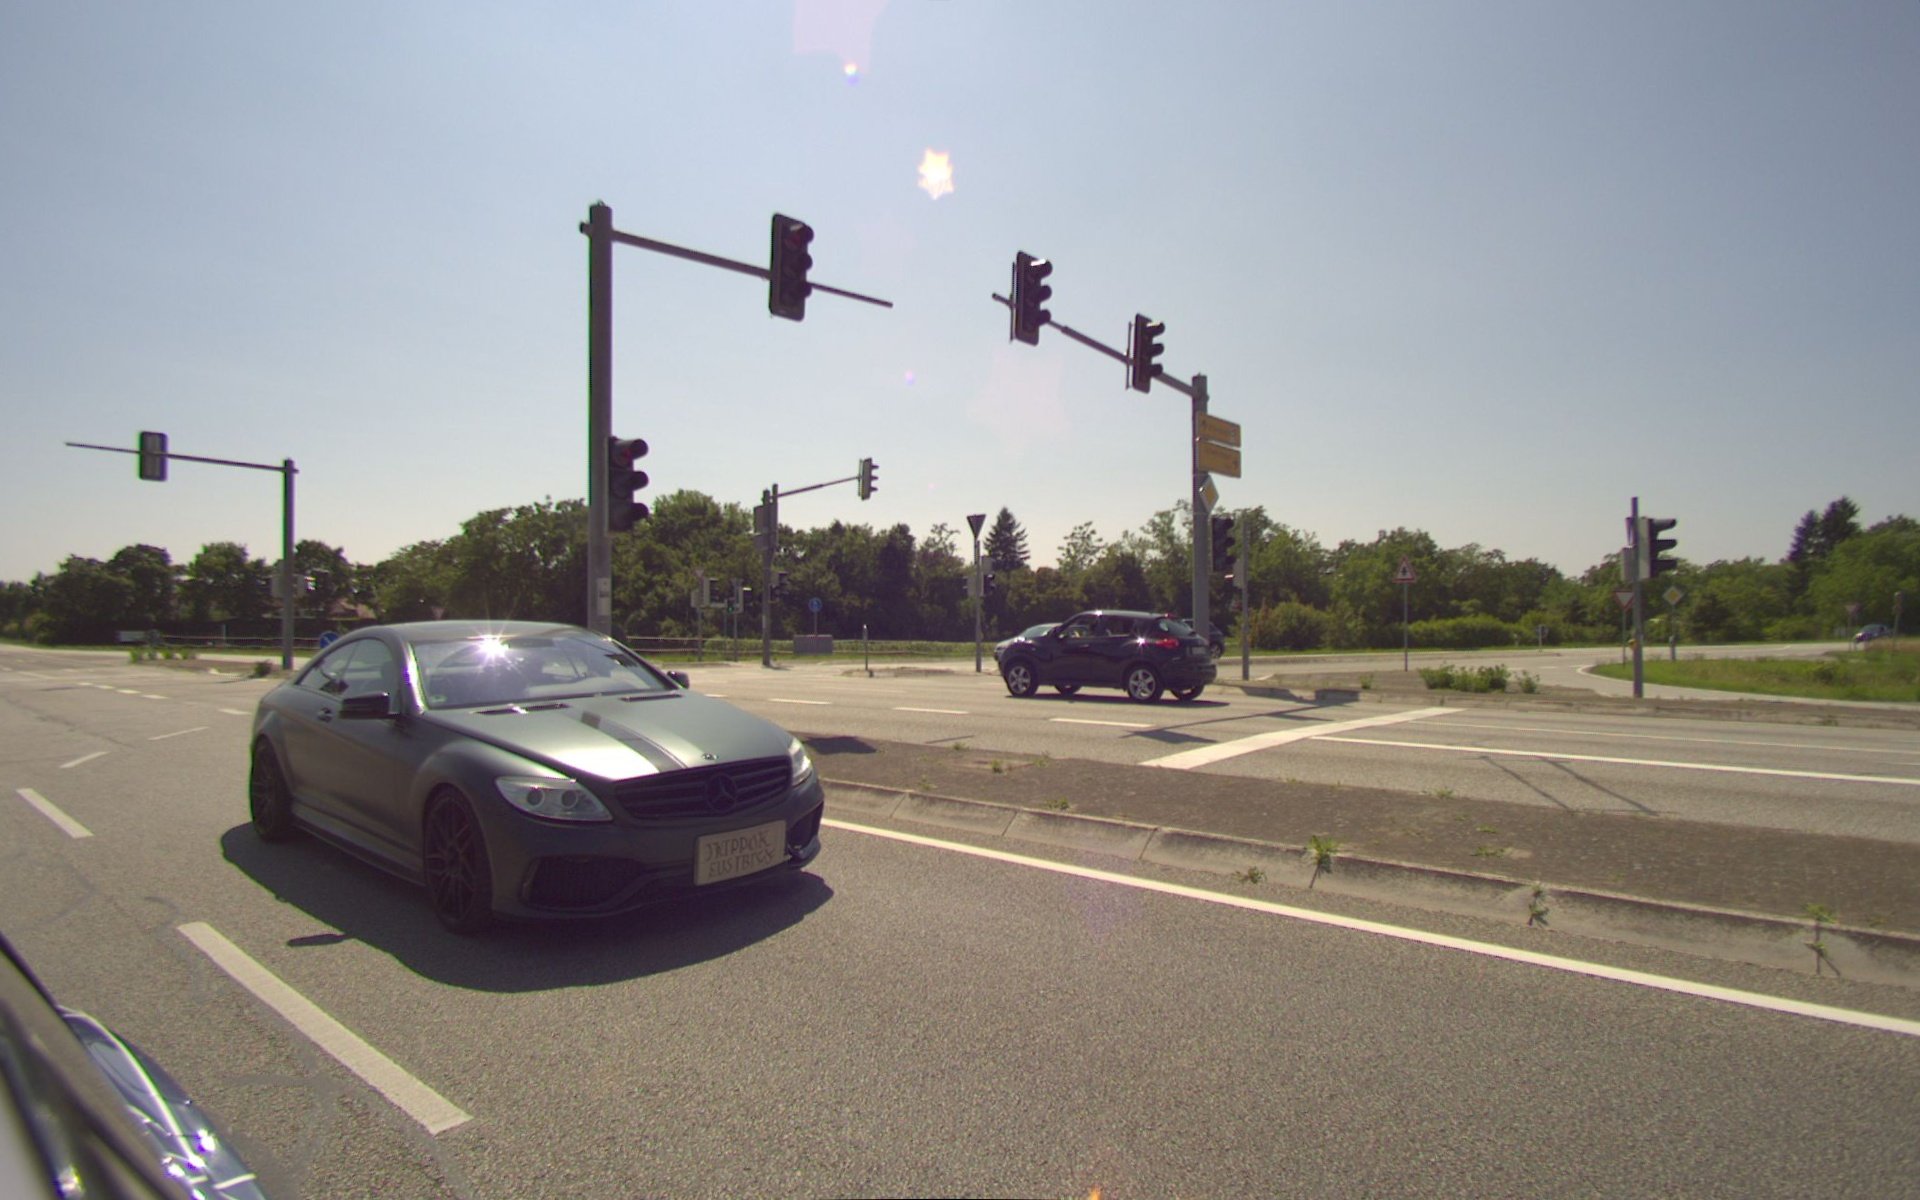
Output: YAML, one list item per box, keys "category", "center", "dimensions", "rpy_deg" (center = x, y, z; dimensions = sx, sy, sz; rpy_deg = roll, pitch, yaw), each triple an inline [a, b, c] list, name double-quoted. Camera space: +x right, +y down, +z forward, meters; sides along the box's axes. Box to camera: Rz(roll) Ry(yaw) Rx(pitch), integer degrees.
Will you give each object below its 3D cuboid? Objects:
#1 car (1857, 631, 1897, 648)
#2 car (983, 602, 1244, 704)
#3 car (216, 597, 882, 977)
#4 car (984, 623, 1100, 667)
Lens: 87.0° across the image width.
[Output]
- category: "car"
  center: [76.432, 3.267, 84.343]
  dimensions: [3.710, 1.397, 1.504]
  rpy_deg: [1, -2, -31]
- category: "car"
  center: [2.654, 0.894, 18.066]
  dimensions: [4.300, 1.612, 1.812]
  rpy_deg: [-1, -2, 39]
- category: "car"
  center: [-2.837, 0.785, 6.229]
  dimensions: [4.874, 1.461, 1.792]
  rpy_deg: [-2, -1, 41]
- category: "car"
  center: [2.878, 1.550, 35.161]
  dimensions: [3.815, 1.397, 1.639]
  rpy_deg: [0, -2, -34]
